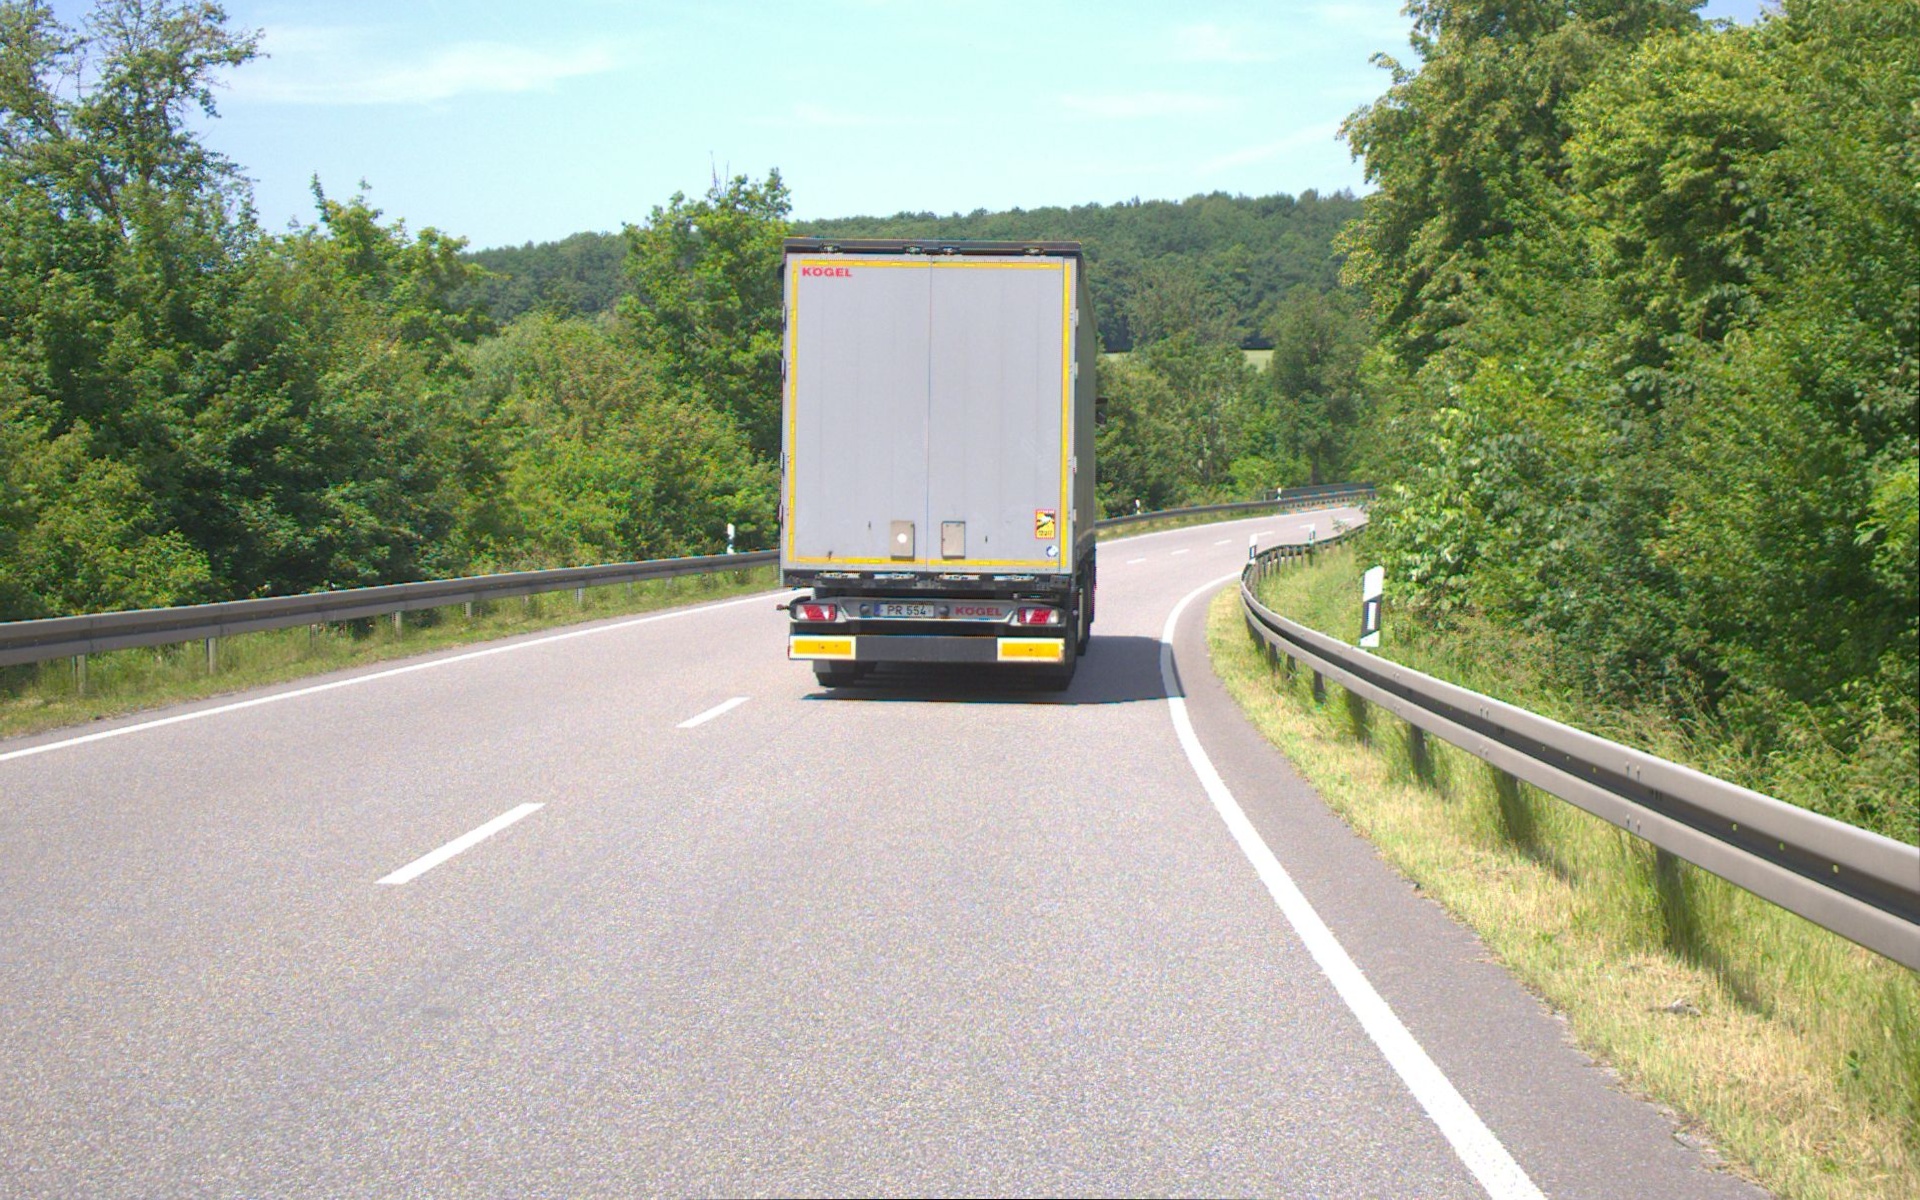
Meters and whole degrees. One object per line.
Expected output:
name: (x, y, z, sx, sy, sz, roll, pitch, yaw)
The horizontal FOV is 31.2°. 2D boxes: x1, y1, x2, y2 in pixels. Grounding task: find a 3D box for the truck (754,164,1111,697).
truck: (0.016, -1.573, 35.198, 2.818, 4.517, 11.767, 1, 1, 3)
